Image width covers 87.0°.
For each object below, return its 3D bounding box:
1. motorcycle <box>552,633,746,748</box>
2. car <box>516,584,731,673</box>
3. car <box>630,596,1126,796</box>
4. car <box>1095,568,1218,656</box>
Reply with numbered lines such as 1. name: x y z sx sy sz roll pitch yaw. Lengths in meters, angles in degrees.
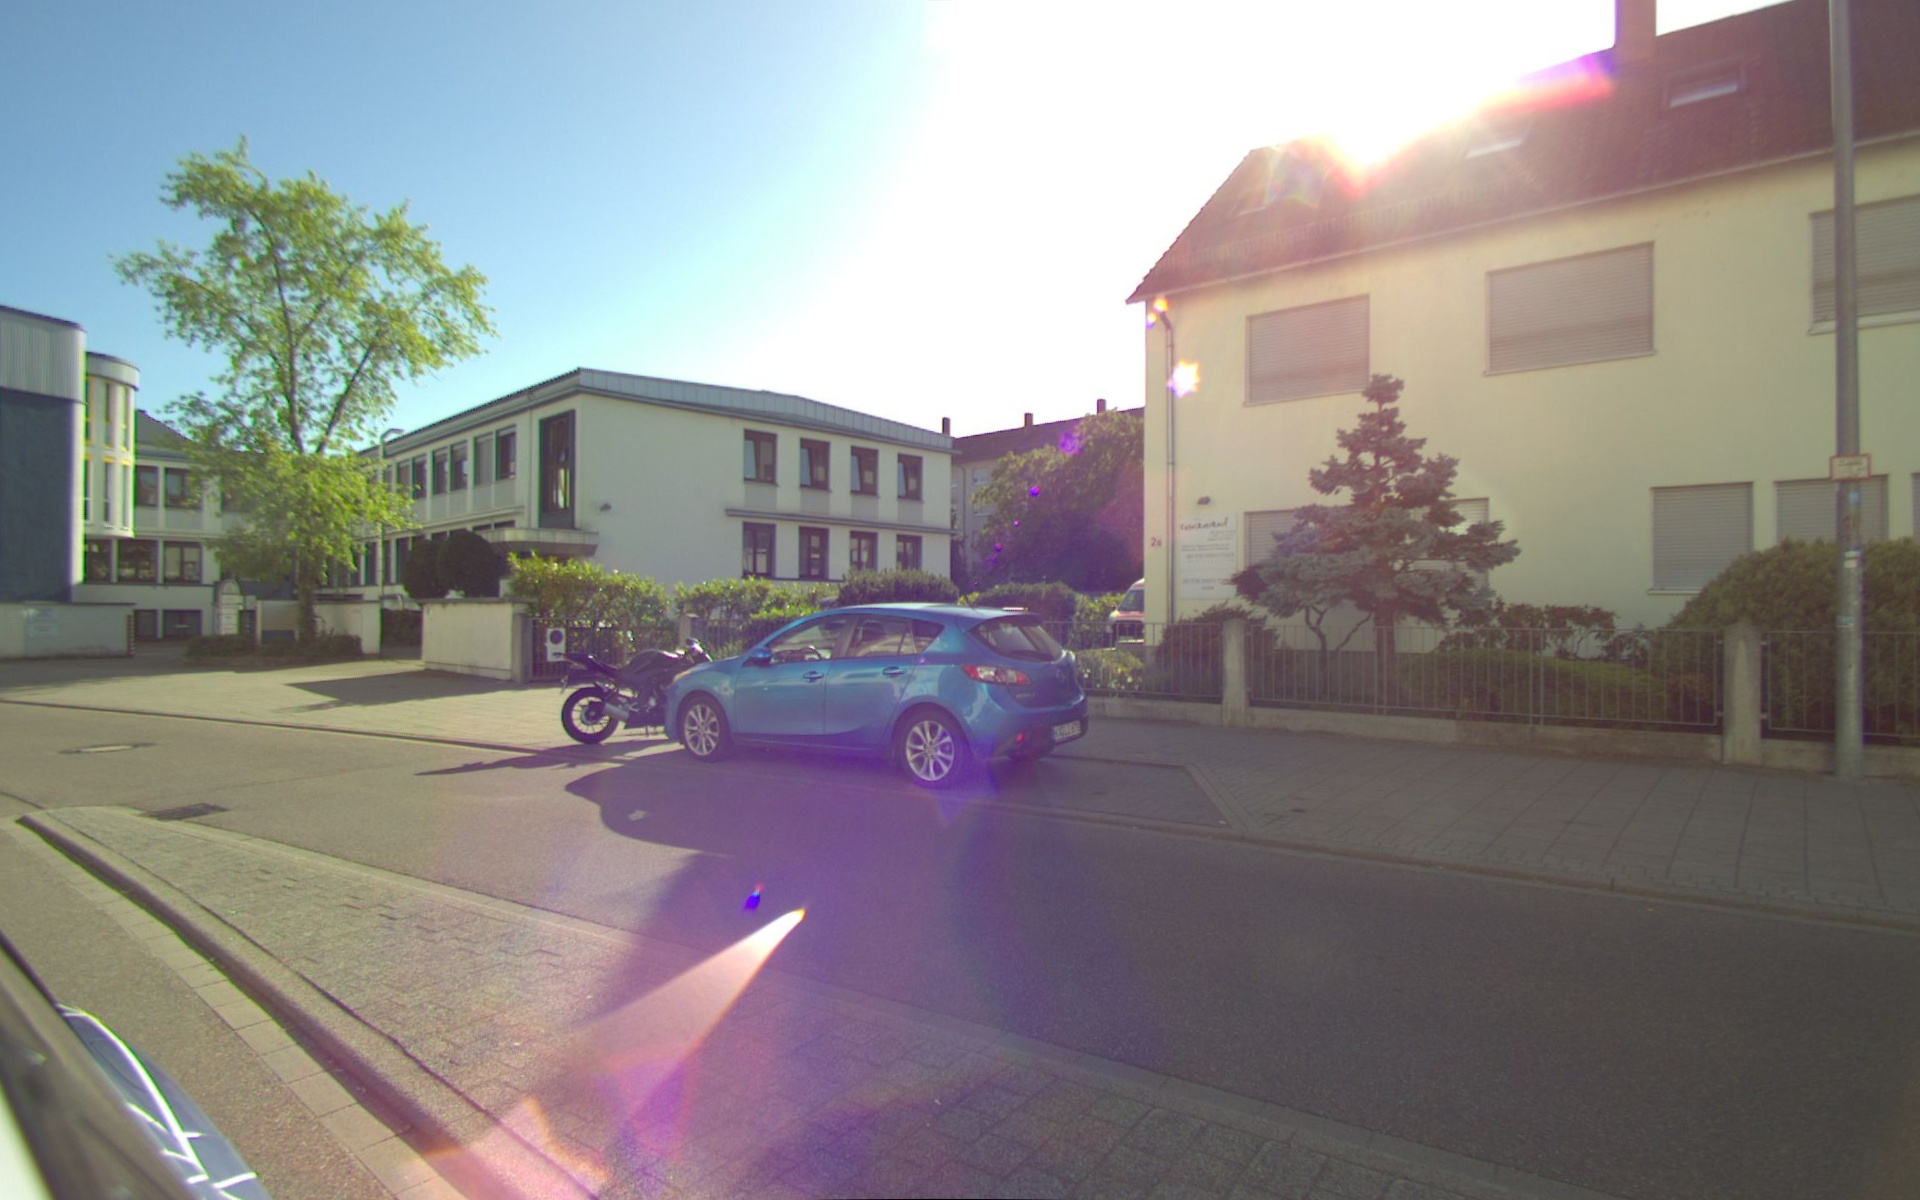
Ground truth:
1. motorcycle: -3.392 0.951 11.096 1.930 1.103 0.592 -1 -1 -28
2. car: -7.203 0.608 21.934 2.000 1.729 3.944 -1 -2 42
3. car: -0.872 0.730 9.410 4.402 1.445 1.864 -1 0 34
4. car: 6.052 0.358 30.642 1.993 2.402 5.370 -1 -1 31
